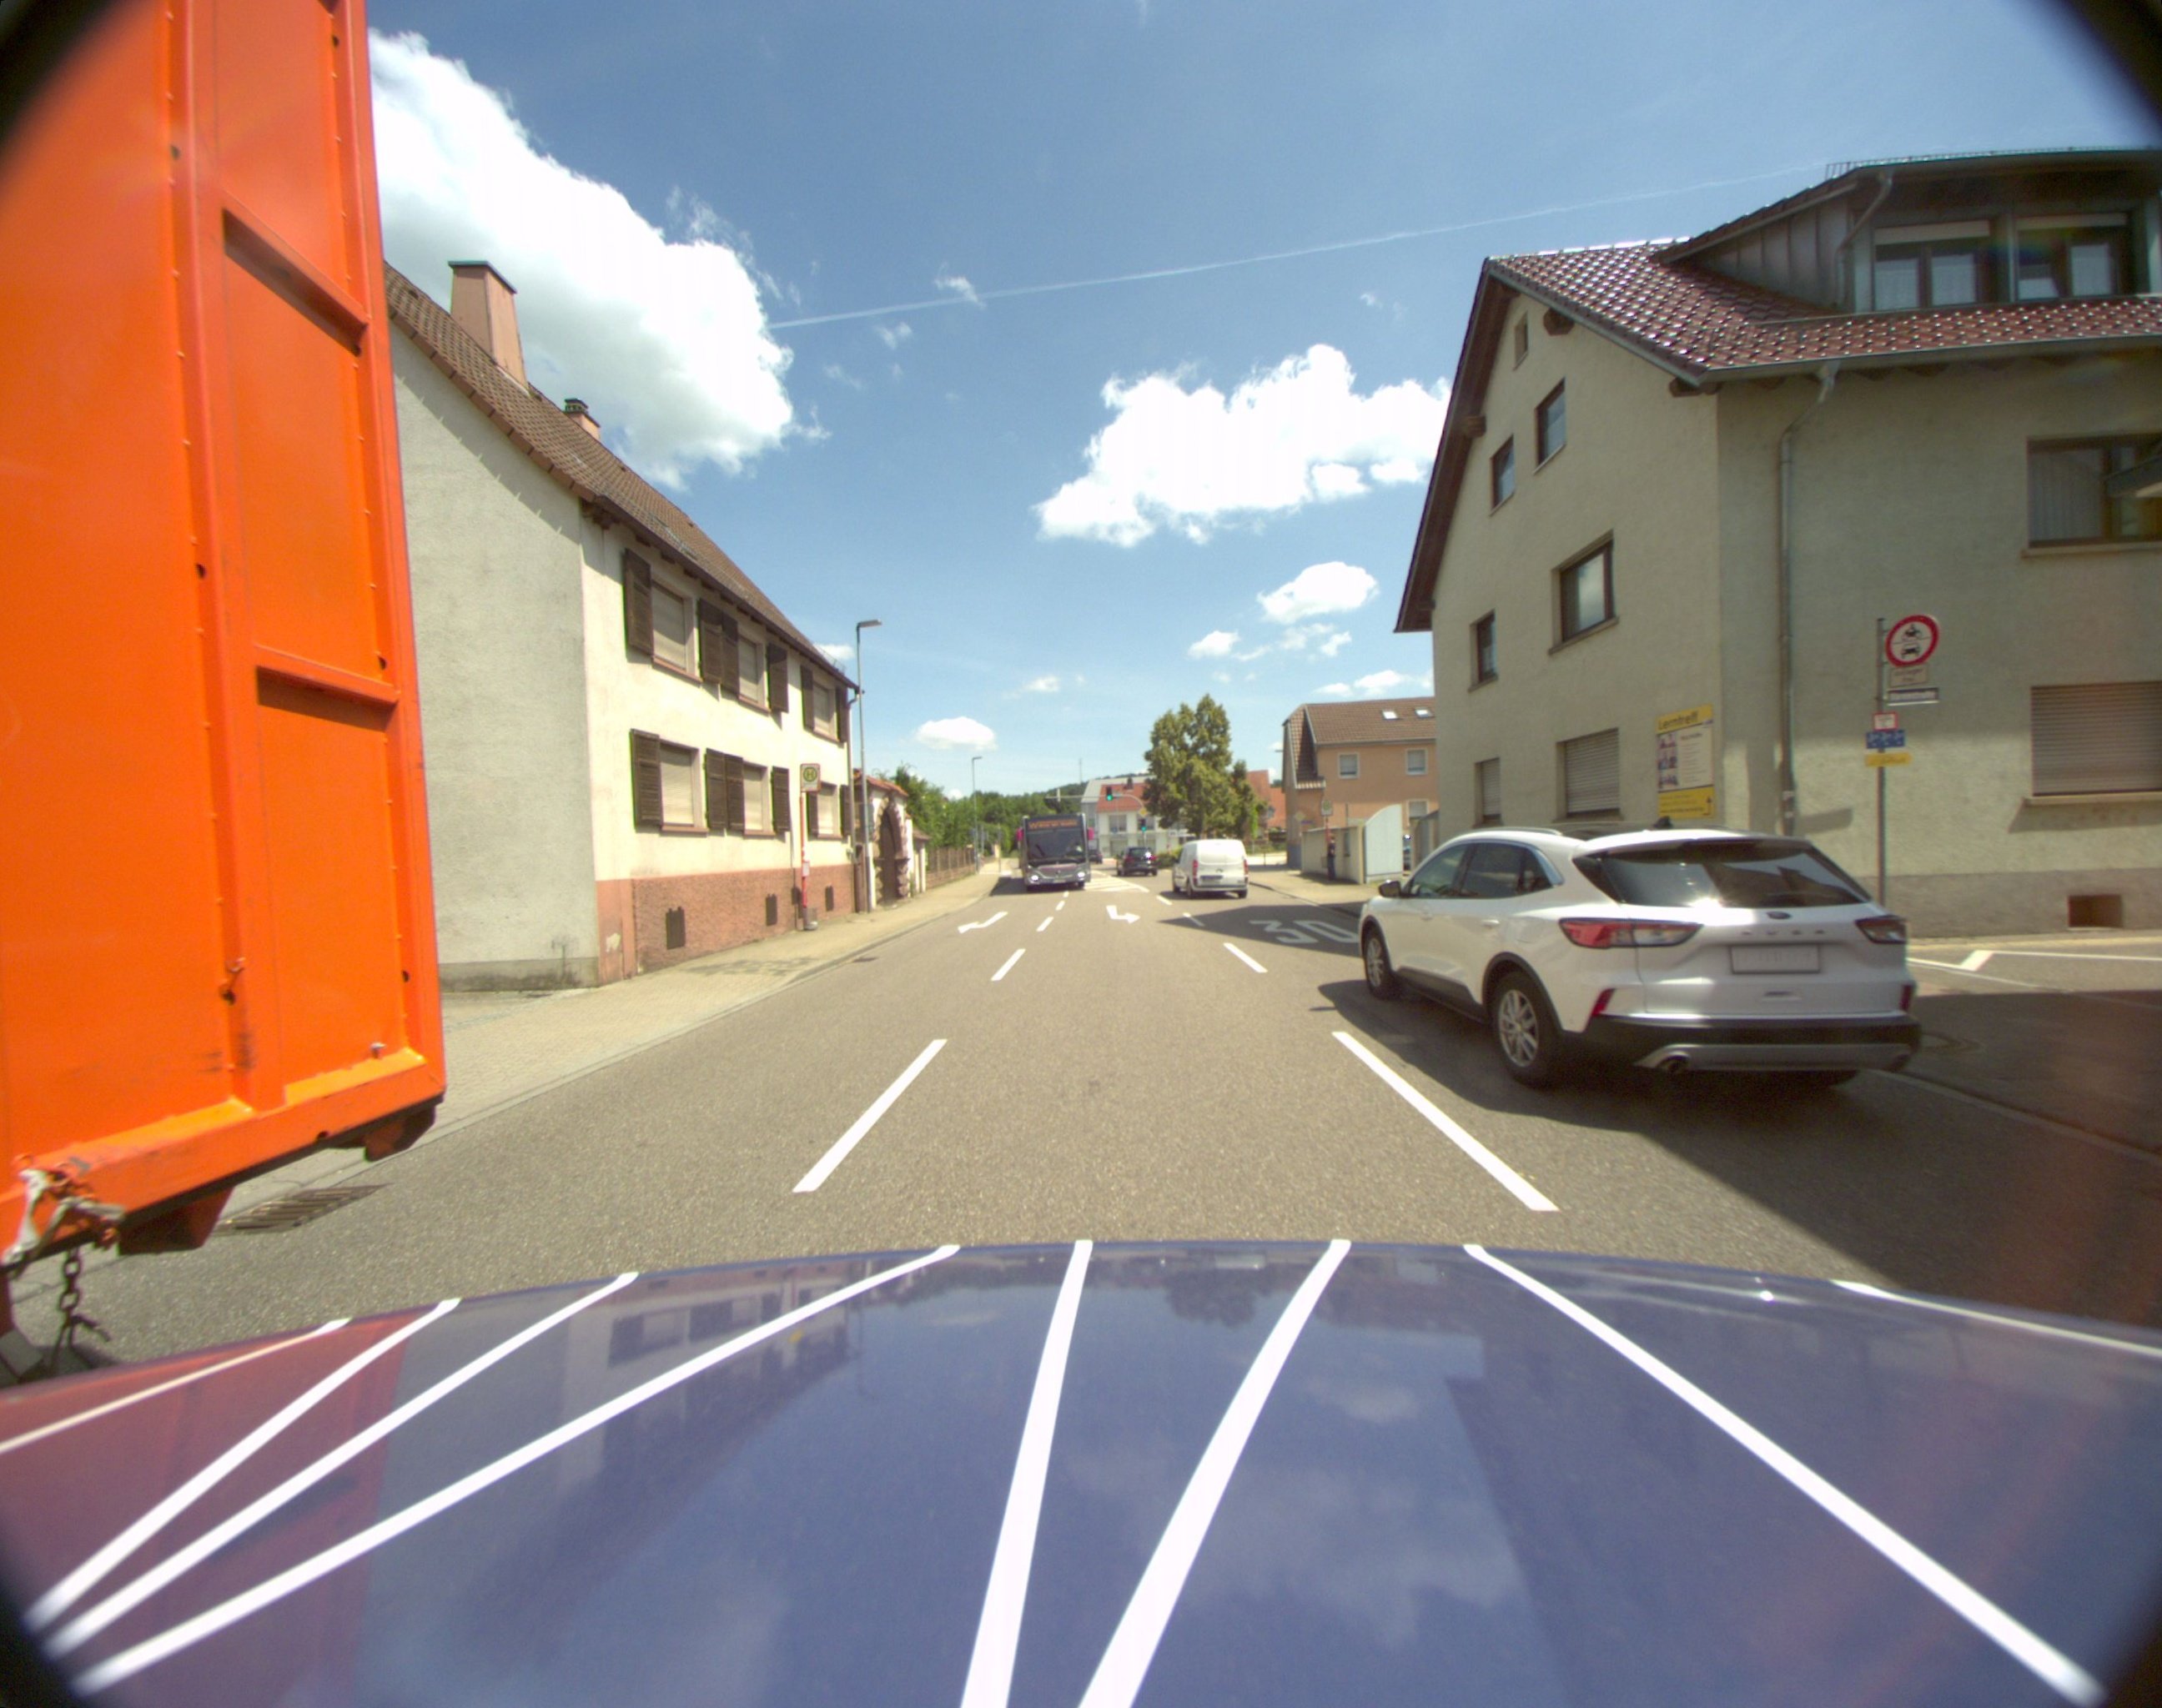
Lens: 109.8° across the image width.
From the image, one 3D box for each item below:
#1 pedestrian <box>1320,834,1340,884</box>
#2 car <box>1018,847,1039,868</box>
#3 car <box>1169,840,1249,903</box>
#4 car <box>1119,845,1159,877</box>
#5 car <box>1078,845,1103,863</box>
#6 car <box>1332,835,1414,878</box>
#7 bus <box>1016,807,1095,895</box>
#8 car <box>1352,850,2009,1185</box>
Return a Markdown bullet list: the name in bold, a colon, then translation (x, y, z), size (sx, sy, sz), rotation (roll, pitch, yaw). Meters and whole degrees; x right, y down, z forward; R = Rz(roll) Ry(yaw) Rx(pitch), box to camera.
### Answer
- **pedestrian**: translation (9.036, 0.179, 27.595), size (0.471, 1.754, 0.478), rotation (-3, 1, -19)
- **car**: translation (-4.715, 0.268, 68.761), size (1.788, 1.819, 4.349), rotation (-1, 1, -4)
- **car**: translation (4.048, 0.485, 24.762), size (1.787, 1.819, 4.599), rotation (-1, 1, 0)
- **car**: translation (3.099, 0.340, 41.418), size (1.753, 1.602, 3.999), rotation (-2, 1, -1)
- **car**: translation (0.816, 0.000, 67.091), size (1.785, 1.448, 4.529), rotation (-2, 1, -4)
- **car**: translation (12.009, 0.069, 31.546), size (1.753, 1.602, 3.999), rotation (-2, 1, -1)
- **bus**: translation (-1.474, -0.218, 38.033), size (2.860, 3.186, 19.024), rotation (-2, 1, -3)
- **car**: translation (3.608, 0.777, 5.763), size (1.822, 1.546, 4.198), rotation (0, 1, 3)
